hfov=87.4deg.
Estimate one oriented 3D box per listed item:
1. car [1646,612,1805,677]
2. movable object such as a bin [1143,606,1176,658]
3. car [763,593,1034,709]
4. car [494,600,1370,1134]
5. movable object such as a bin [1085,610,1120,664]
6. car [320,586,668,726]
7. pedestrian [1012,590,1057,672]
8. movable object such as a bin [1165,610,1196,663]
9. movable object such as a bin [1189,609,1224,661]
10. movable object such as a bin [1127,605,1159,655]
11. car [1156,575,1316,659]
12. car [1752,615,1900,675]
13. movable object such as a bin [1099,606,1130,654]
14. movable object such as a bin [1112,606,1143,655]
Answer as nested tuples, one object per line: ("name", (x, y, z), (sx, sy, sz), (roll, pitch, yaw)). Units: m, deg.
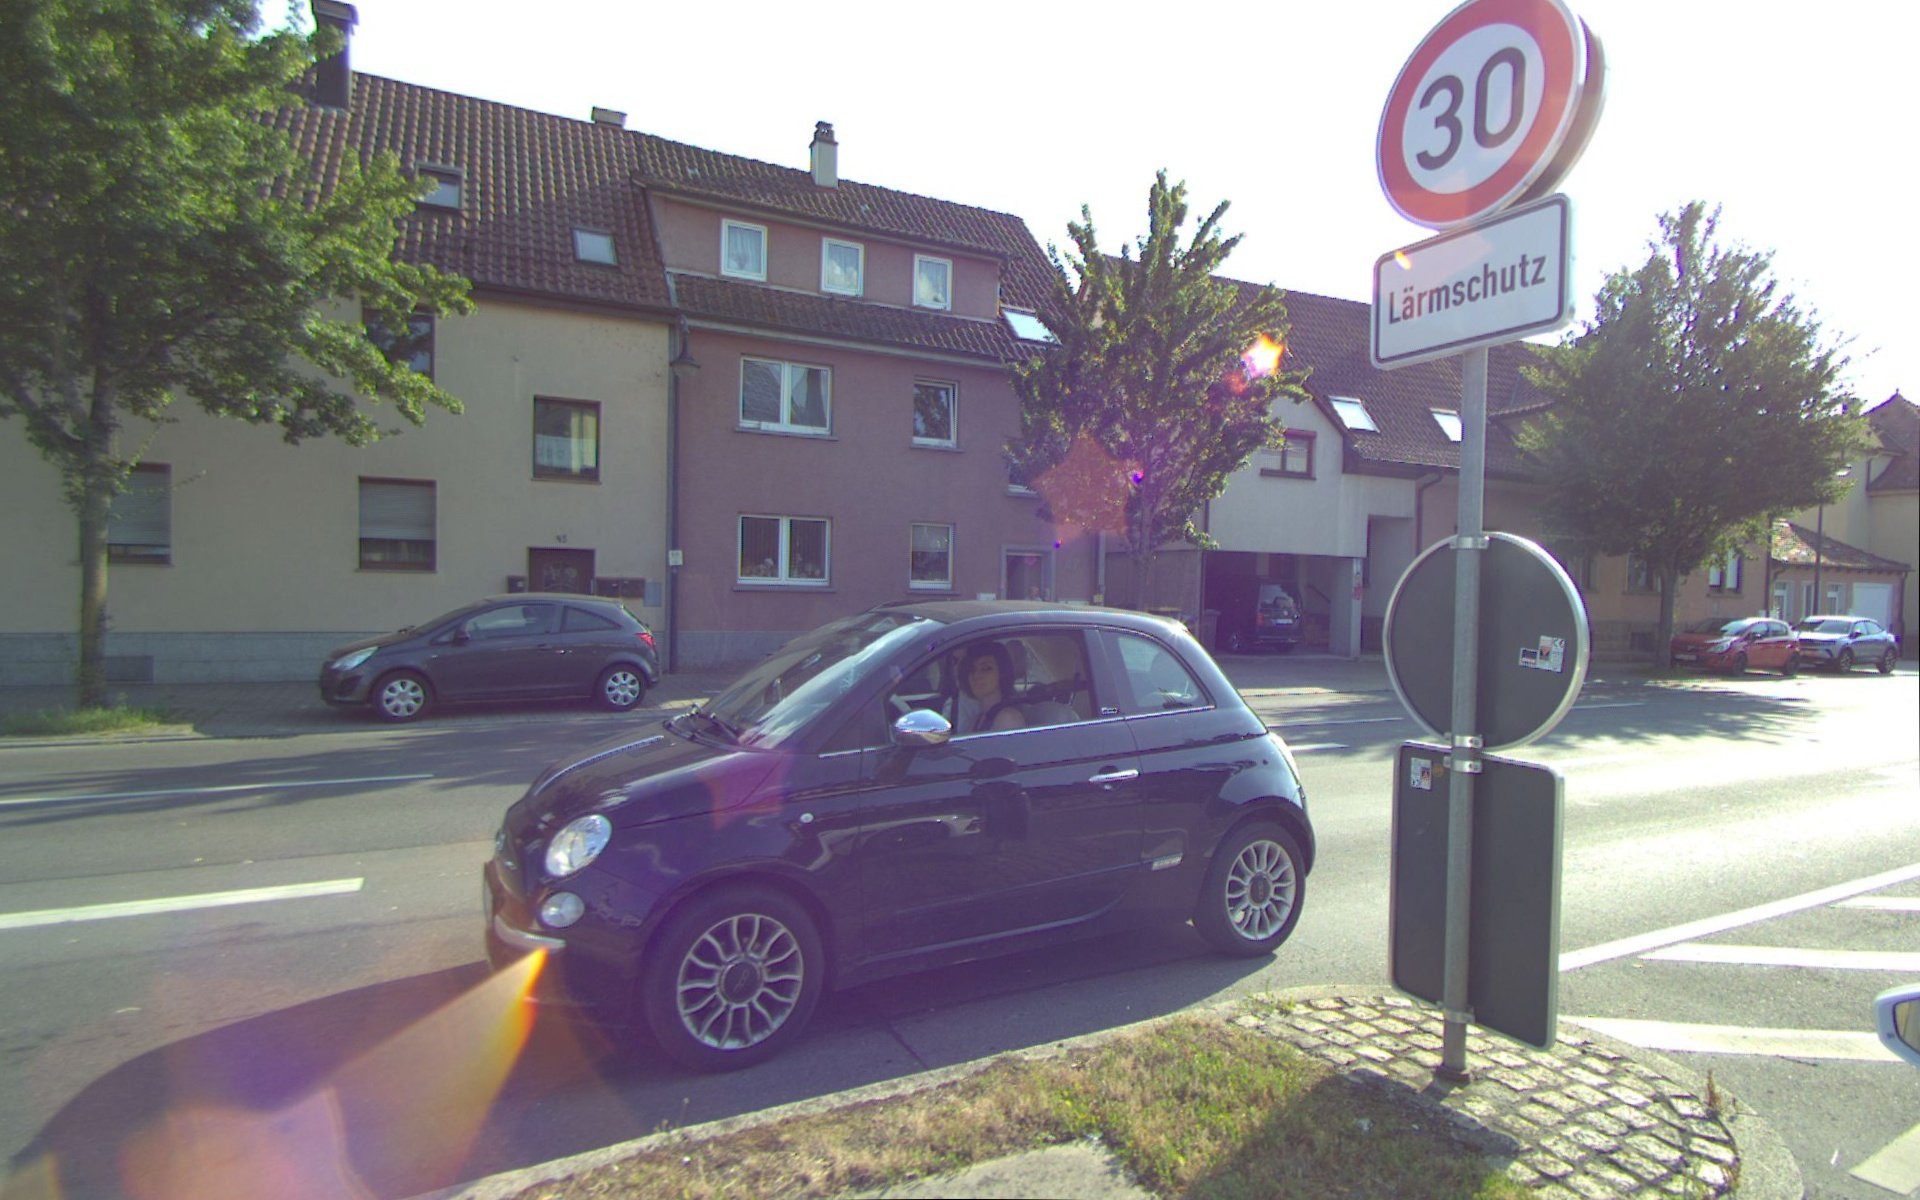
("car", (20.293, 1.150, 26.623), (3.946, 1.507, 1.660), (1, 3, -25))
("movable object such as a bin", (4.543, 0.722, 22.856), (0.534, 1.152, 0.507), (0, 0, -29))
("car", (-0.940, 0.725, 15.612), (3.851, 1.553, 1.660), (1, 2, -27))
("car", (-0.046, 0.751, 4.309), (3.463, 1.481, 1.525), (0, 0, -29))
("movable object such as a bin", (3.122, 0.795, 22.021), (0.523, 1.158, 0.549), (0, 0, -27))
("car", (-5.852, 0.622, 12.818), (3.841, 1.531, 1.504), (0, 2, -31))
("pedestrian", (1.533, 0.627, 20.698), (0.763, 1.629, 0.722), (2, 2, -6))
("movable object such as a bin", (4.919, 0.801, 22.415), (0.494, 1.152, 0.473), (0, 0, -29))
("movable object such as a bin", (5.650, 0.795, 23.030), (0.570, 1.158, 0.562), (0, 0, -35))
("movable object such as a bin", (4.270, 0.695, 23.413), (0.534, 1.152, 0.507), (0, 0, -29))
("car", (6.871, 0.366, 25.369), (1.756, 1.906, 3.806), (1, 2, -27))
("car", (24.843, 1.250, 28.816), (3.947, 1.499, 1.749), (0, 3, -26))
("movable object such as a bin", (3.753, 0.718, 24.412), (0.534, 1.152, 0.507), (0, 0, -29))
("movable object such as a bin", (3.997, 0.720, 23.955), (0.534, 1.152, 0.507), (0, 0, -29))
